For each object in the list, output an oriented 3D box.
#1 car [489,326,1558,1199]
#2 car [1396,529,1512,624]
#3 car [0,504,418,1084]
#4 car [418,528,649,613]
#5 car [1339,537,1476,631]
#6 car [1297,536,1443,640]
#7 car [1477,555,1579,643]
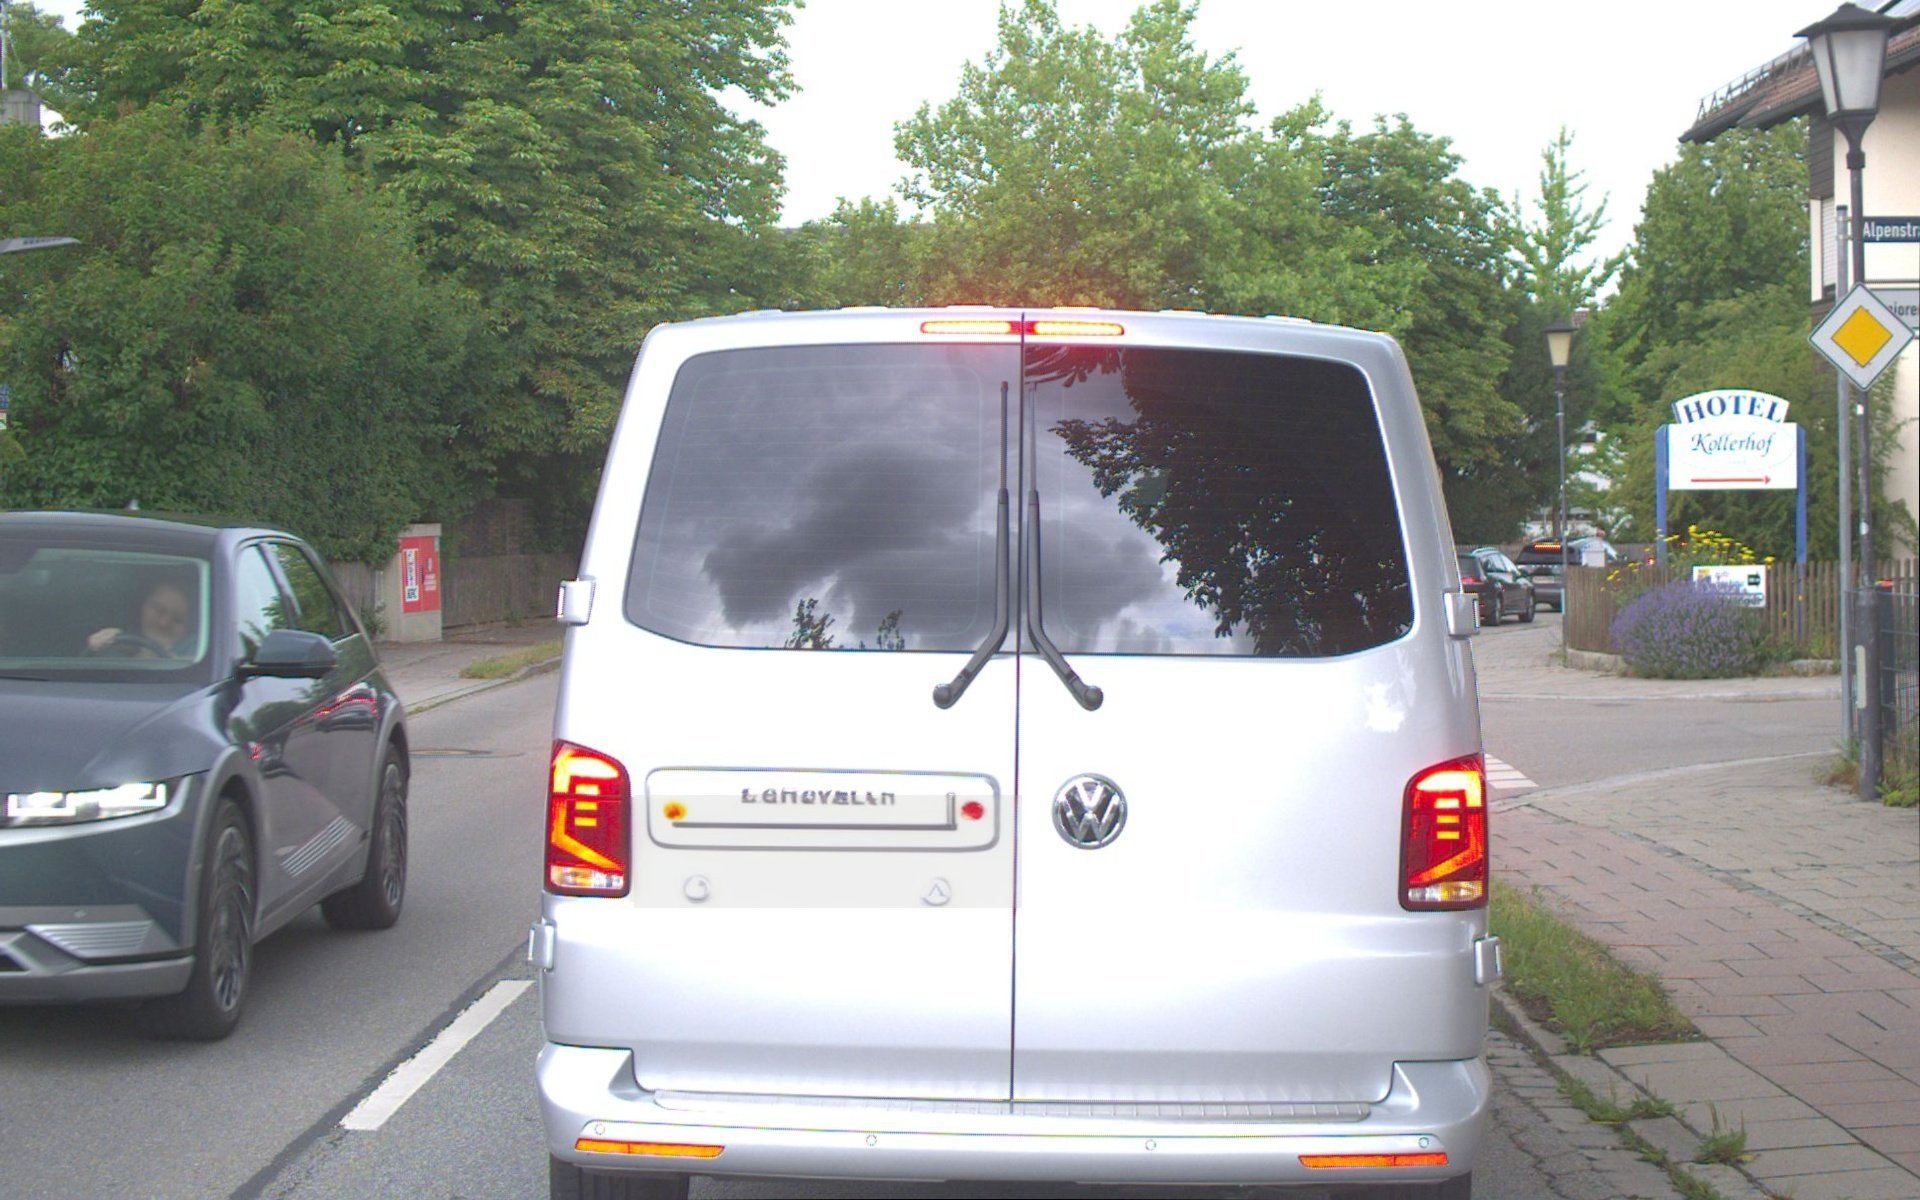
[{"bbox_3d":[0.135,0.453,8.045,1.881,1.934,3.921,0,1,1],"label":"car"},{"bbox_3d":[9.466,-0.471,65.675,1.882,1.742,4.078,0,1,12],"label":"car"},{"bbox_3d":[-3.125,0.480,11.490,1.930,1.569,4.312,1,1,0],"label":"car"},{"bbox_3d":[-7.533,-0.532,60.697,3.986,1.481,2.001,0,1,-8],"label":"car"},{"bbox_3d":[7.664,-0.297,58.633,1.882,1.530,3.918,0,1,14],"label":"car"},{"bbox_3d":[6.335,-0.214,52.798,1.882,1.530,3.919,0,1,12],"label":"car"},{"bbox_3d":[12.286,-0.048,74.186,1.882,1.819,3.918,0,1,14],"label":"car"}]
